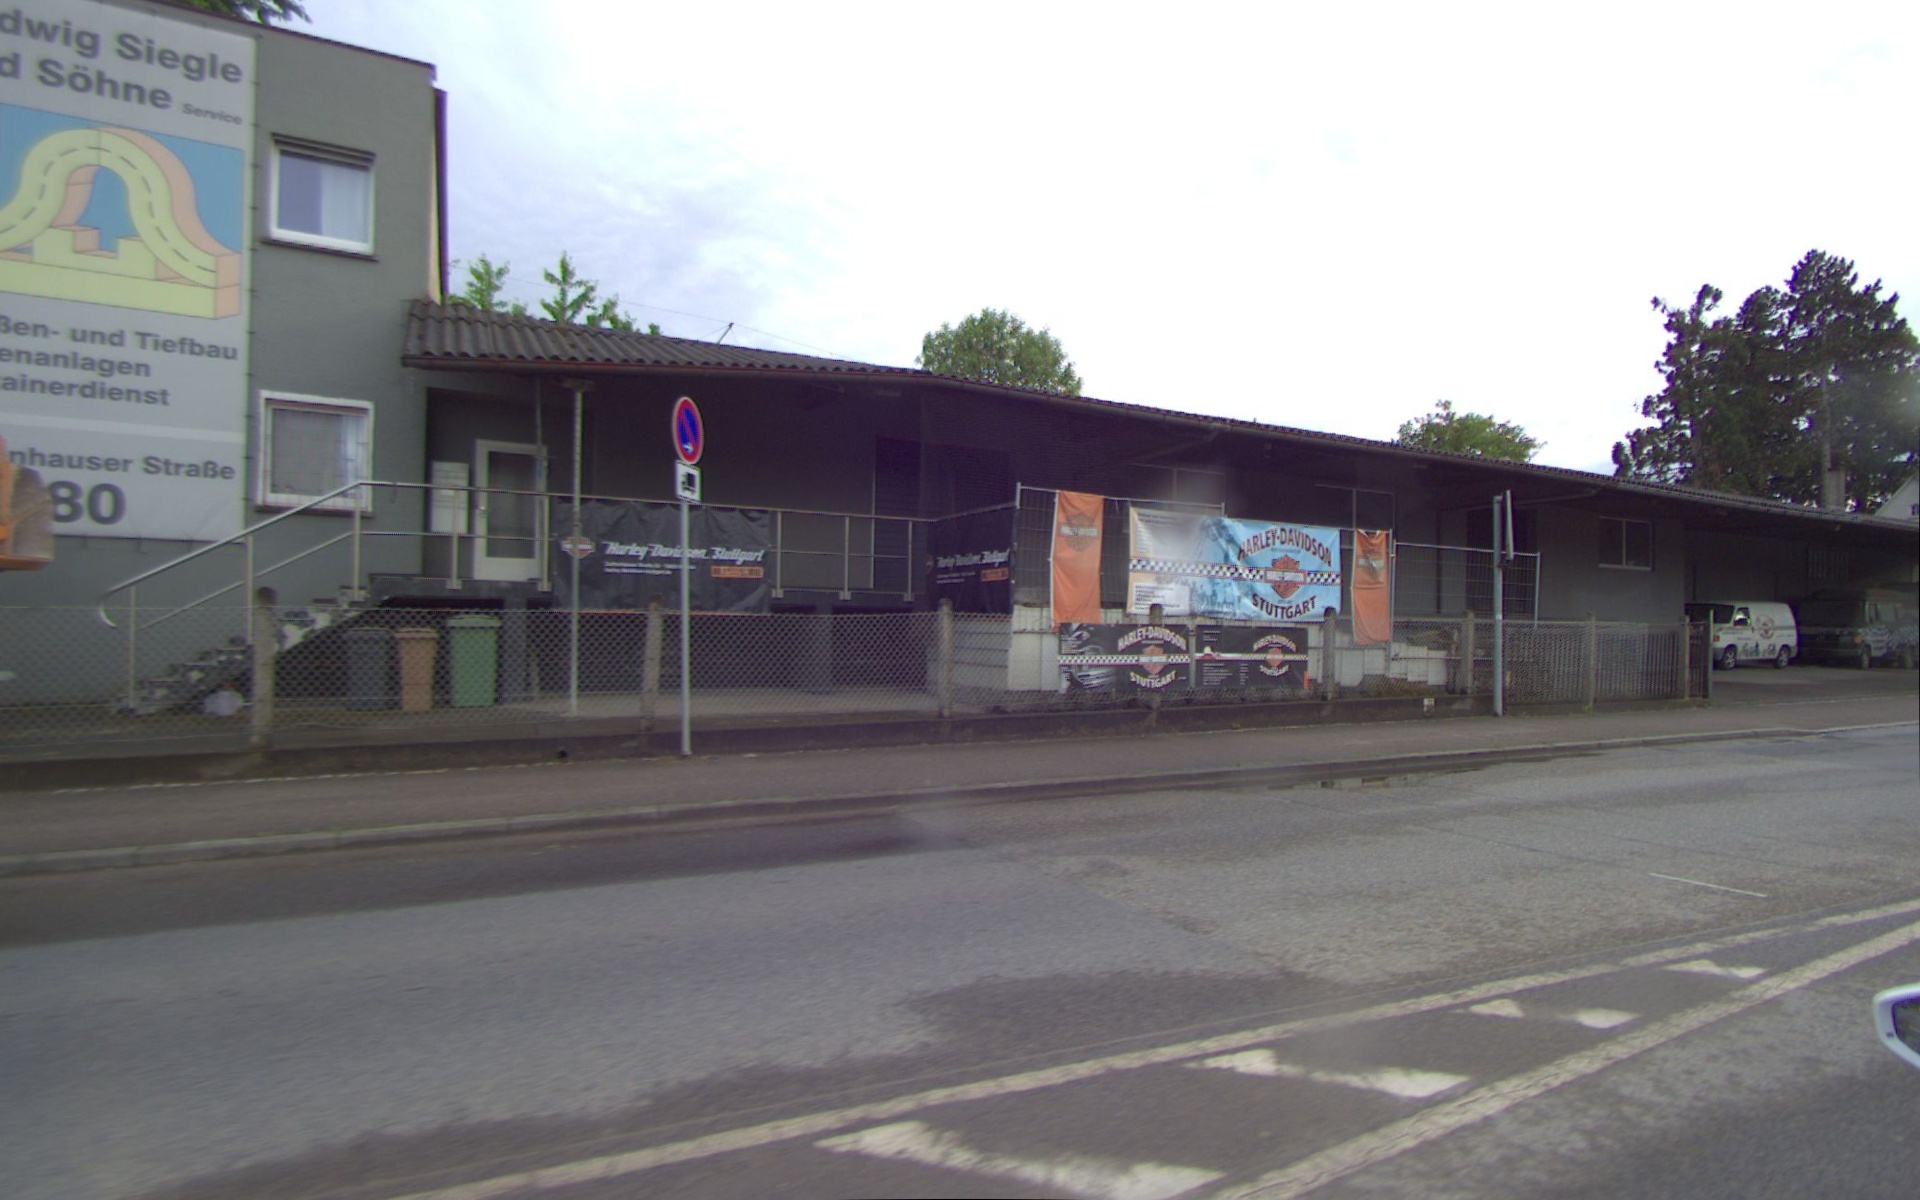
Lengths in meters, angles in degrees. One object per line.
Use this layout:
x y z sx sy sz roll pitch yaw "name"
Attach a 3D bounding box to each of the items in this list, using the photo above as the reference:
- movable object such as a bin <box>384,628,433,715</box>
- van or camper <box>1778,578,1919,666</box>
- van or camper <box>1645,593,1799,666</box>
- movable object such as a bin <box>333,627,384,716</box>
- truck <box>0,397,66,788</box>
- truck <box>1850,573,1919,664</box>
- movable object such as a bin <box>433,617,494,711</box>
-6.406 0.812 11.678 0.472 0.968 0.760 1 -1 -29 "movable object such as a bin"
28.259 0.718 31.809 5.173 2.469 1.850 3 1 -30 "van or camper"
22.036 0.849 29.024 4.420 1.934 1.983 2 1 -31 "van or camper"
-6.848 0.793 11.448 0.455 0.968 0.745 1 -1 -29 "movable object such as a bin"
-12.447 -0.266 6.823 8.953 3.456 2.688 3 0 -26 "truck"
33.316 0.685 34.337 5.884 2.966 2.384 2 1 -29 "truck"
-5.919 0.740 11.967 0.616 1.070 0.760 1 -1 -29 "movable object such as a bin"
